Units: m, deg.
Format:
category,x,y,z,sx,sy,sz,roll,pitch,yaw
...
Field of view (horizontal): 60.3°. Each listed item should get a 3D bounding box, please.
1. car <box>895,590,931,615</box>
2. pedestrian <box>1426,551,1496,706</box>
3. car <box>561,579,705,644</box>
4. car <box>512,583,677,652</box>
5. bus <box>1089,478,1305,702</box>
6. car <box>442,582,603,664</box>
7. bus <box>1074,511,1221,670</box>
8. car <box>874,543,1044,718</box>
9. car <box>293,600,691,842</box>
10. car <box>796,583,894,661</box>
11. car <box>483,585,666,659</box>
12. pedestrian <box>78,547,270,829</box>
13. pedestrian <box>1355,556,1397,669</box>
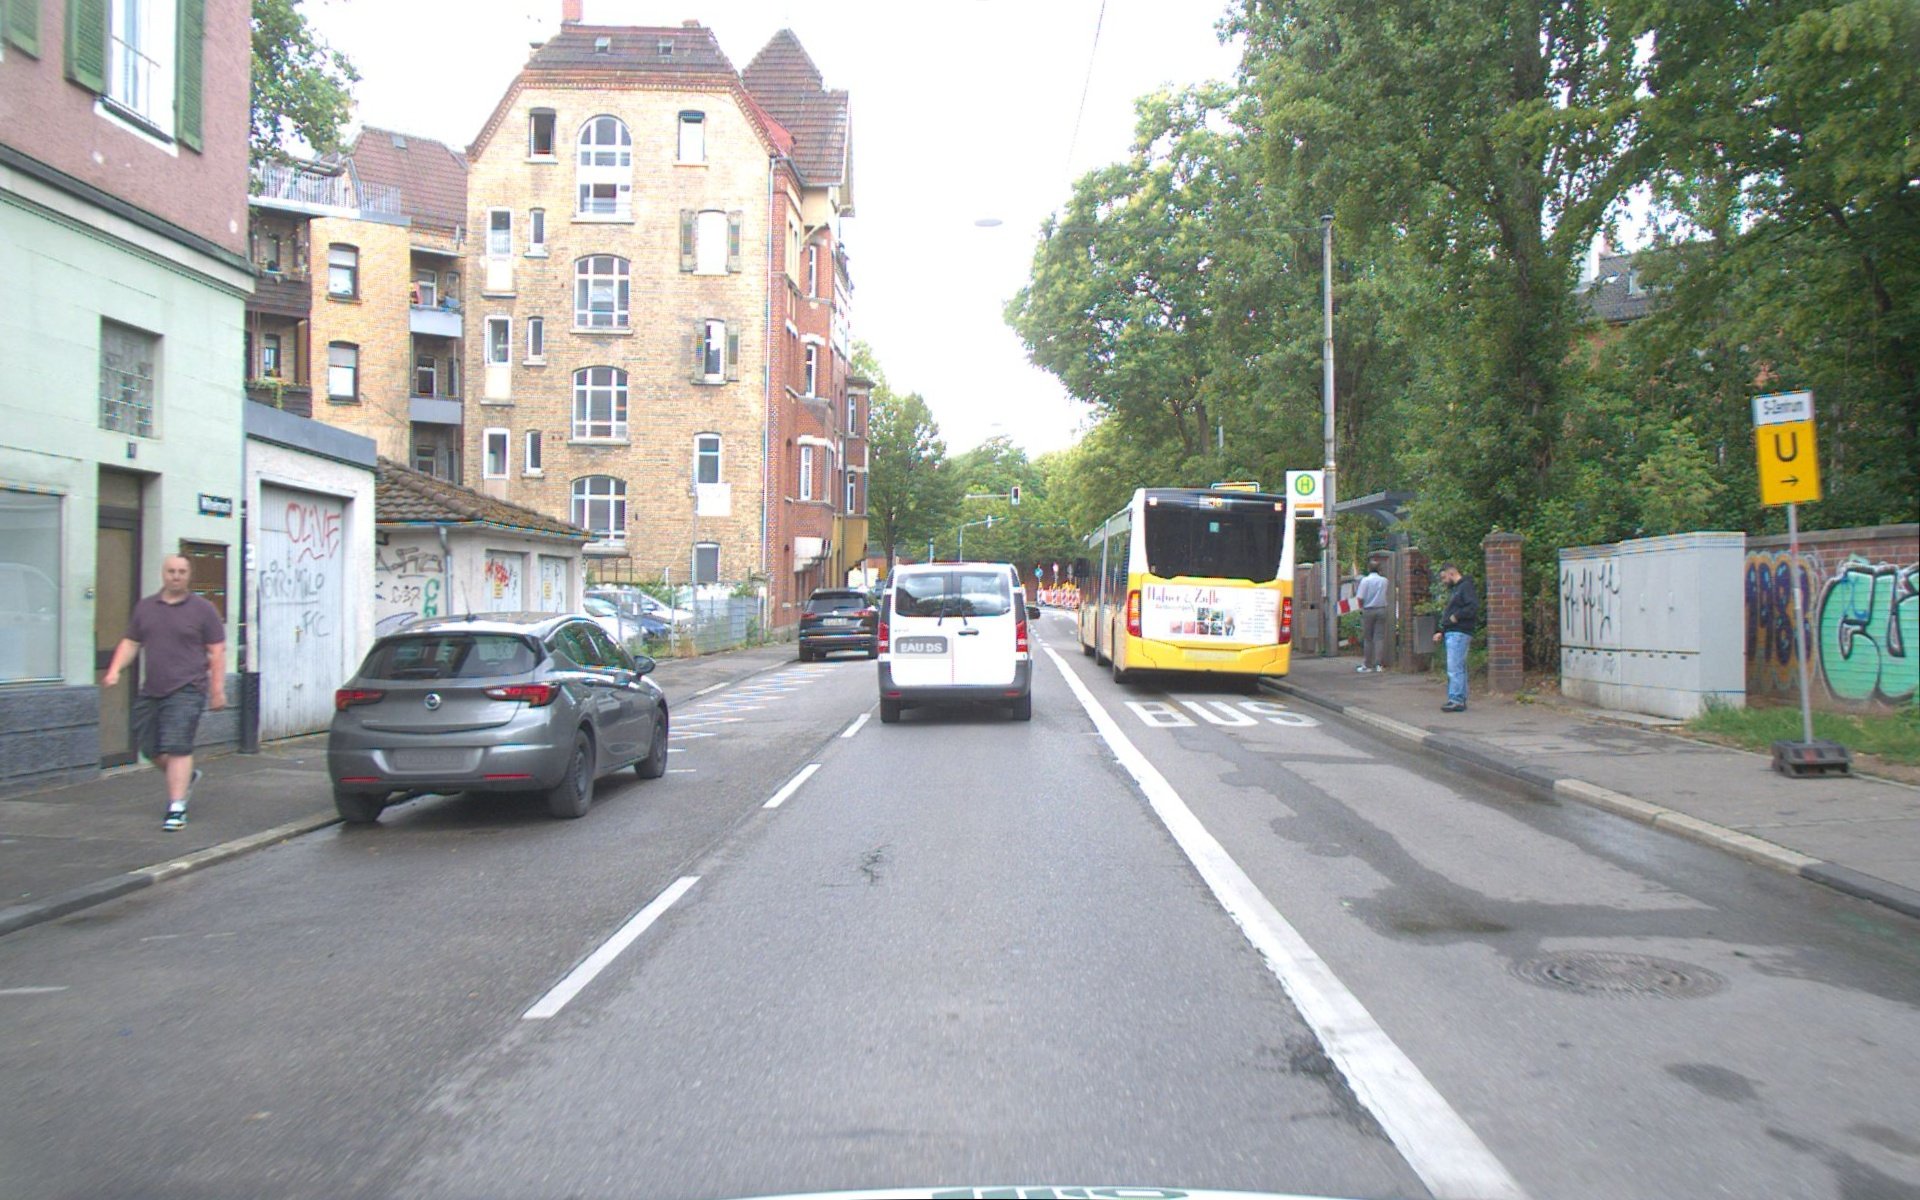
category,x,y,z,sx,sy,sz,roll,pitch,yaw
car,-3.152,0.164,110.145,1.997,1.511,4.385,0,2,-6
pedestrian,6.046,0.336,19.986,0.570,1.810,0.821,2,0,1
car,-8.957,0.303,45.463,3.521,1.640,1.689,-2,0,2
car,-8.841,0.412,40.231,3.521,1.531,1.854,-2,0,2
bus,3.866,-0.173,29.270,2.607,3.191,10.042,2,0,2
car,-9.117,0.471,34.637,2.788,1.592,1.854,-2,0,2
bus,4.203,-0.219,38.884,2.616,3.193,9.220,2,0,2
car,-0.028,0.414,21.348,1.878,1.935,4.700,2,-2,0
car,-3.466,0.808,13.108,1.839,1.512,4.128,2,1,1
car,-2.722,0.476,40.059,1.913,1.764,4.775,0,1,2
car,-8.740,0.485,37.680,3.645,1.531,1.854,-2,0,2
pedestrian,-5.235,0.568,11.077,0.745,1.774,0.984,2,-1,-1
pedestrian,6.871,0.205,27.326,0.441,1.810,0.672,-3,0,1
